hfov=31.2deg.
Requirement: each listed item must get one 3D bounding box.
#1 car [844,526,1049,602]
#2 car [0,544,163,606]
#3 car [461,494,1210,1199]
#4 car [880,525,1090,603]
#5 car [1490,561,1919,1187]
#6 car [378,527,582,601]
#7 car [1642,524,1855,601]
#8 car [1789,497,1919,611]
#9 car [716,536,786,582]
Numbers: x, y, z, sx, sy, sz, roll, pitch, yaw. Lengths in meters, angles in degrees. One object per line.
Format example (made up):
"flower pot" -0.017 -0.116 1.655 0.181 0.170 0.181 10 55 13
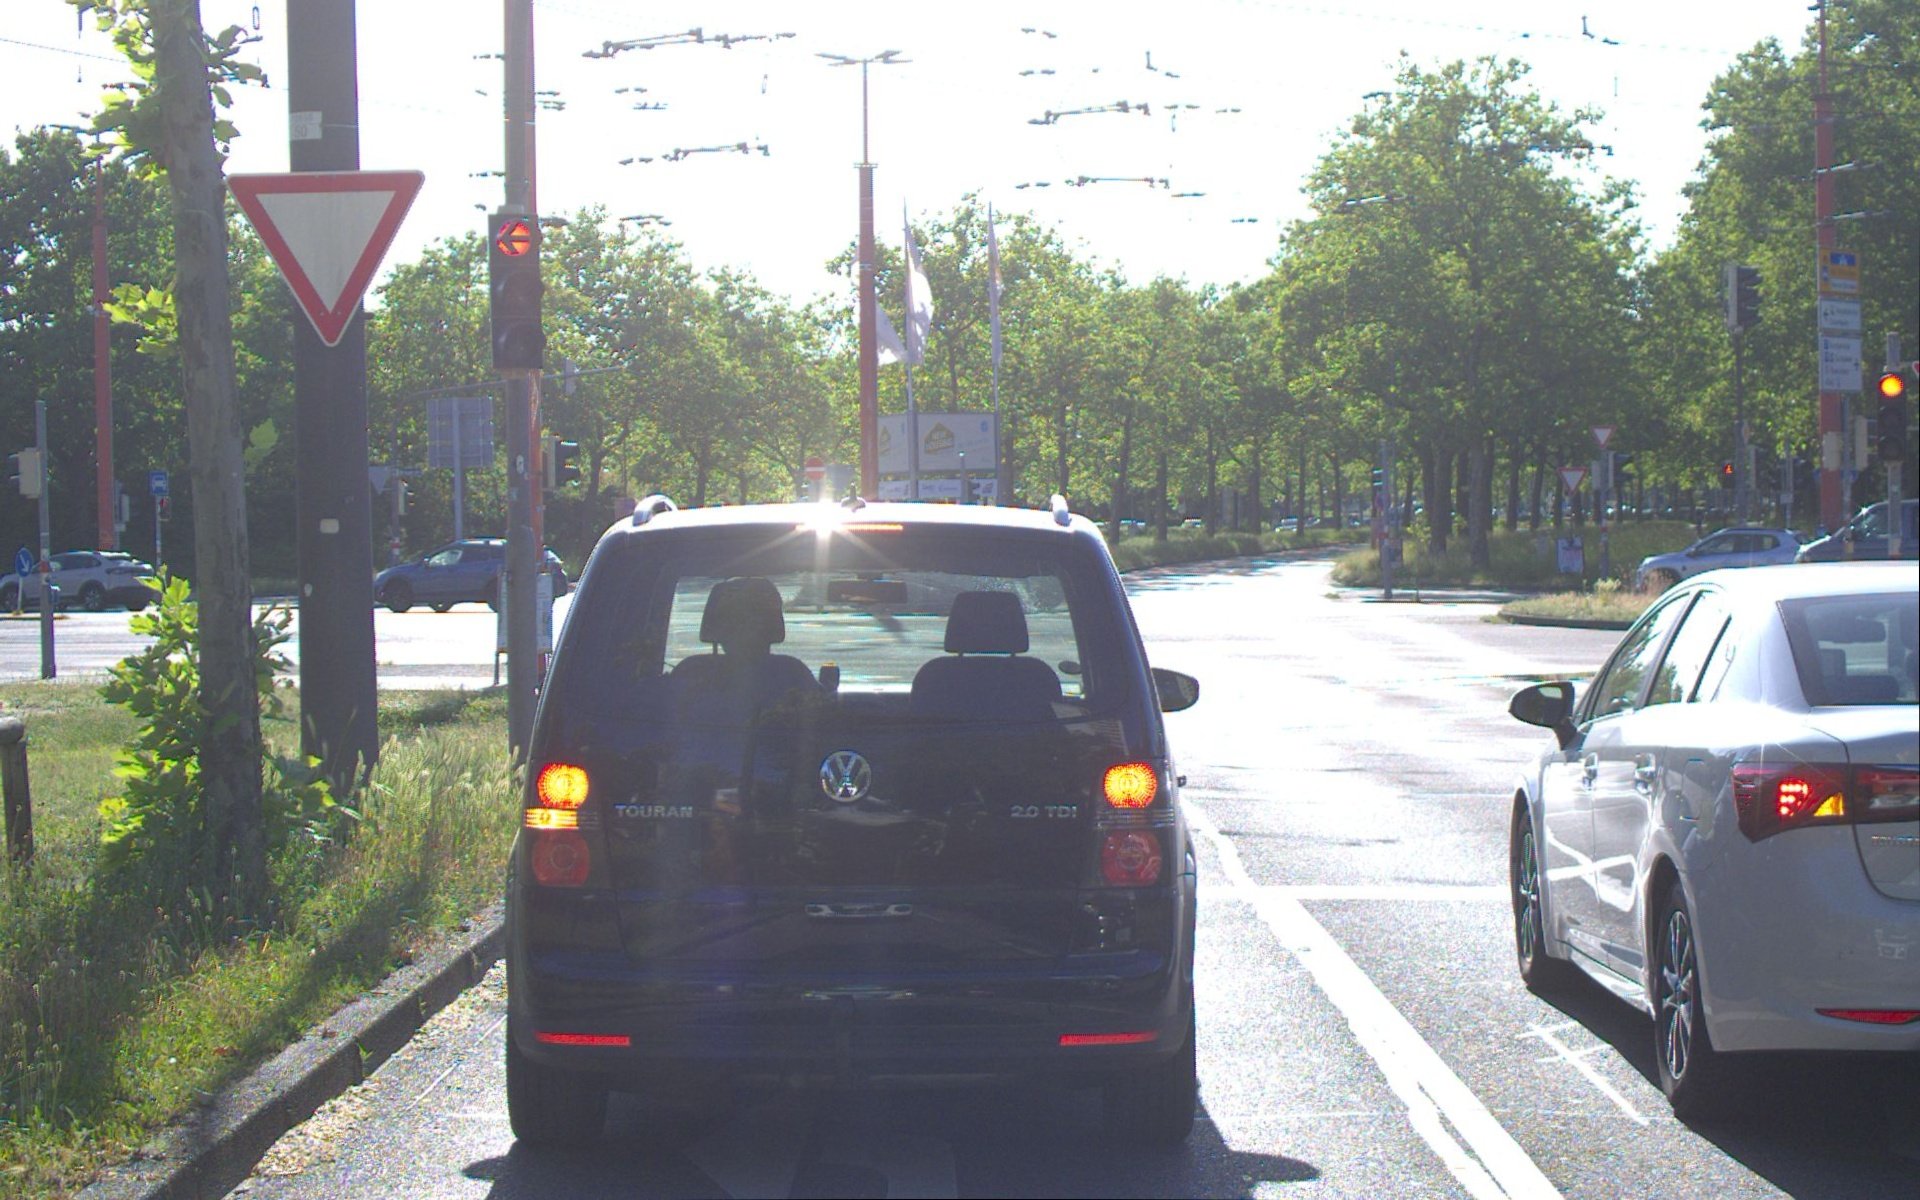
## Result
"car" -0.274 -0.735 70.192 3.824 1.517 1.693 0 1 25
"car" -21.839 -0.624 84.927 3.969 1.436 1.684 1 1 24
"car" -0.312 0.538 9.820 1.700 1.616 3.897 -1 1 -1
"car" 0.533 -0.773 74.243 4.125 1.638 1.850 0 1 26
"car" 2.716 0.621 10.104 1.720 1.433 4.198 1 1 1
"car" -10.560 -0.792 75.618 4.125 1.592 1.826 0 1 27
"car" 15.225 -0.727 66.394 3.741 1.468 1.598 0 1 26
"car" 17.428 -0.835 61.726 4.577 2.007 1.997 0 1 29
"car" -7.729 -1.506 127.440 1.915 1.630 3.999 1 1 7
